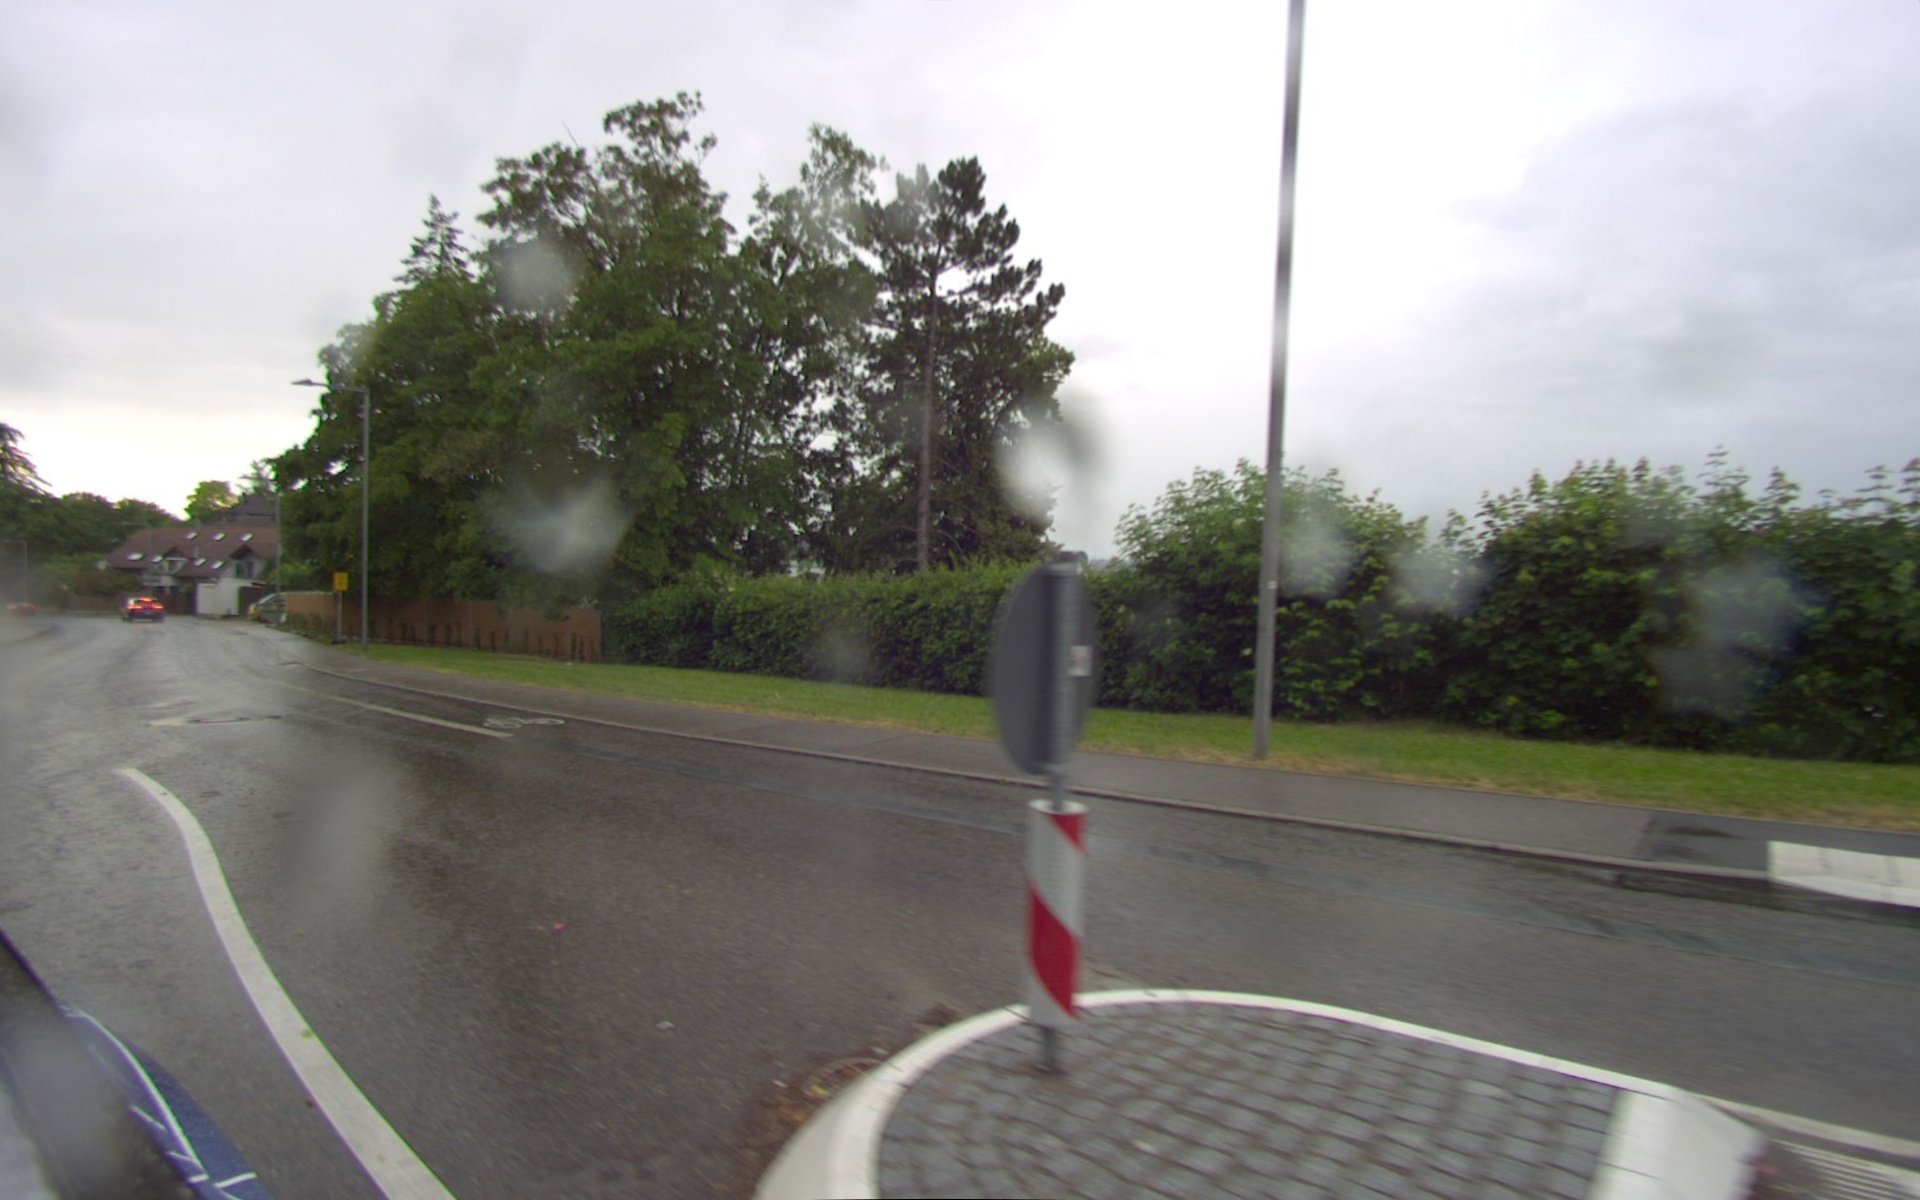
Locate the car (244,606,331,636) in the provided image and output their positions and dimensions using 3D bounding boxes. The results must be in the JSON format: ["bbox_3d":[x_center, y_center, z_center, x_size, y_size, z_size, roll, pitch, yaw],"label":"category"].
[{"bbox_3d":[-43.058,1.343,64.837,4.446,1.874,2.093,1,-1,-40],"label":"car"}]

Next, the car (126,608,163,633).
[{"bbox_3d":[-56.856,1.394,70.562,1.894,1.660,4.555,2,-1,-39],"label":"car"}]

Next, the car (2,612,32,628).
[{"bbox_3d":[-92.232,1.908,98.933,4.168,1.523,1.814,0,0,43],"label":"car"}]
